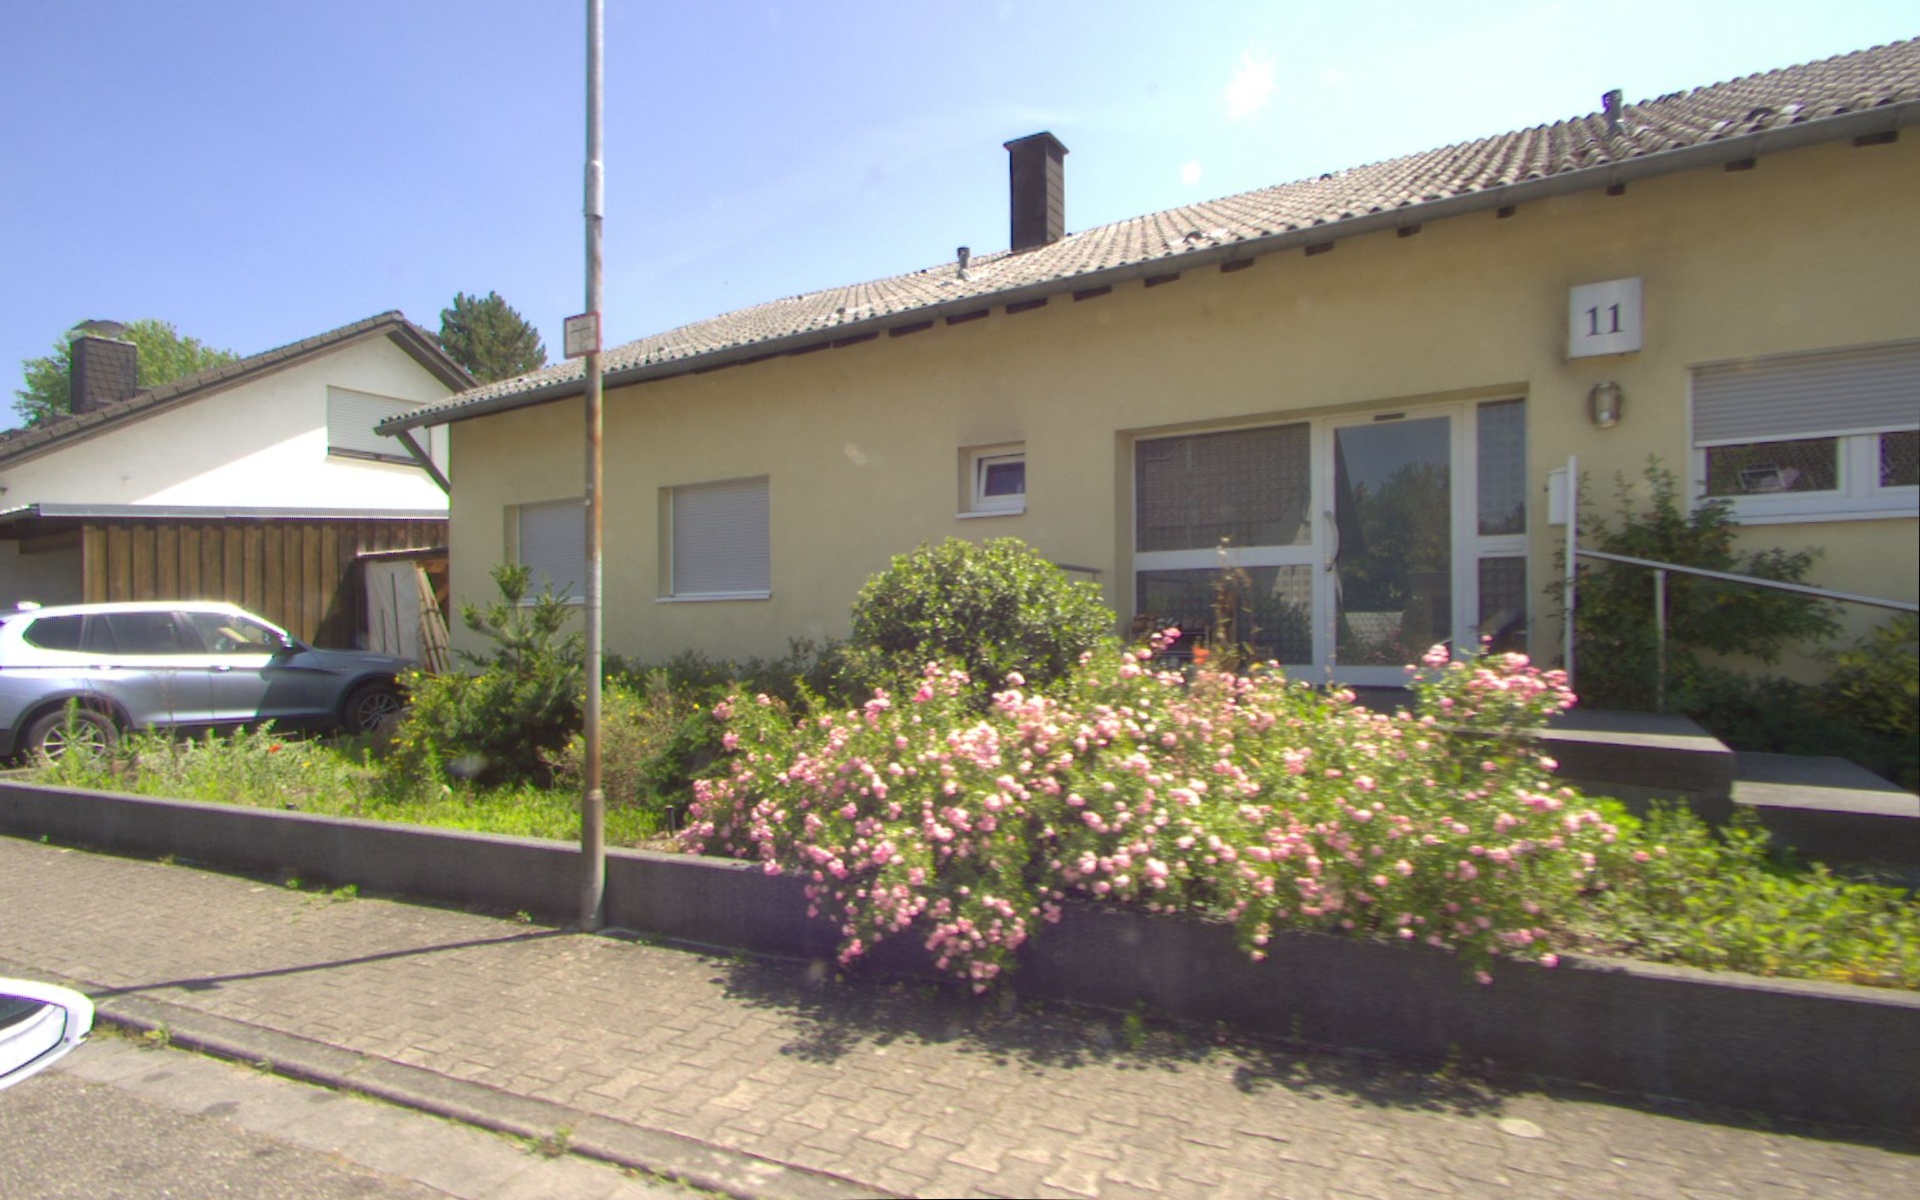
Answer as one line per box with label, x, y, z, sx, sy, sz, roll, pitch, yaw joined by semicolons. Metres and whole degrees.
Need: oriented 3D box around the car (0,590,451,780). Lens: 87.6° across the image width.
car;-8.390;0.775;11.141;1.686;1.724;4.614;-1;0;34
